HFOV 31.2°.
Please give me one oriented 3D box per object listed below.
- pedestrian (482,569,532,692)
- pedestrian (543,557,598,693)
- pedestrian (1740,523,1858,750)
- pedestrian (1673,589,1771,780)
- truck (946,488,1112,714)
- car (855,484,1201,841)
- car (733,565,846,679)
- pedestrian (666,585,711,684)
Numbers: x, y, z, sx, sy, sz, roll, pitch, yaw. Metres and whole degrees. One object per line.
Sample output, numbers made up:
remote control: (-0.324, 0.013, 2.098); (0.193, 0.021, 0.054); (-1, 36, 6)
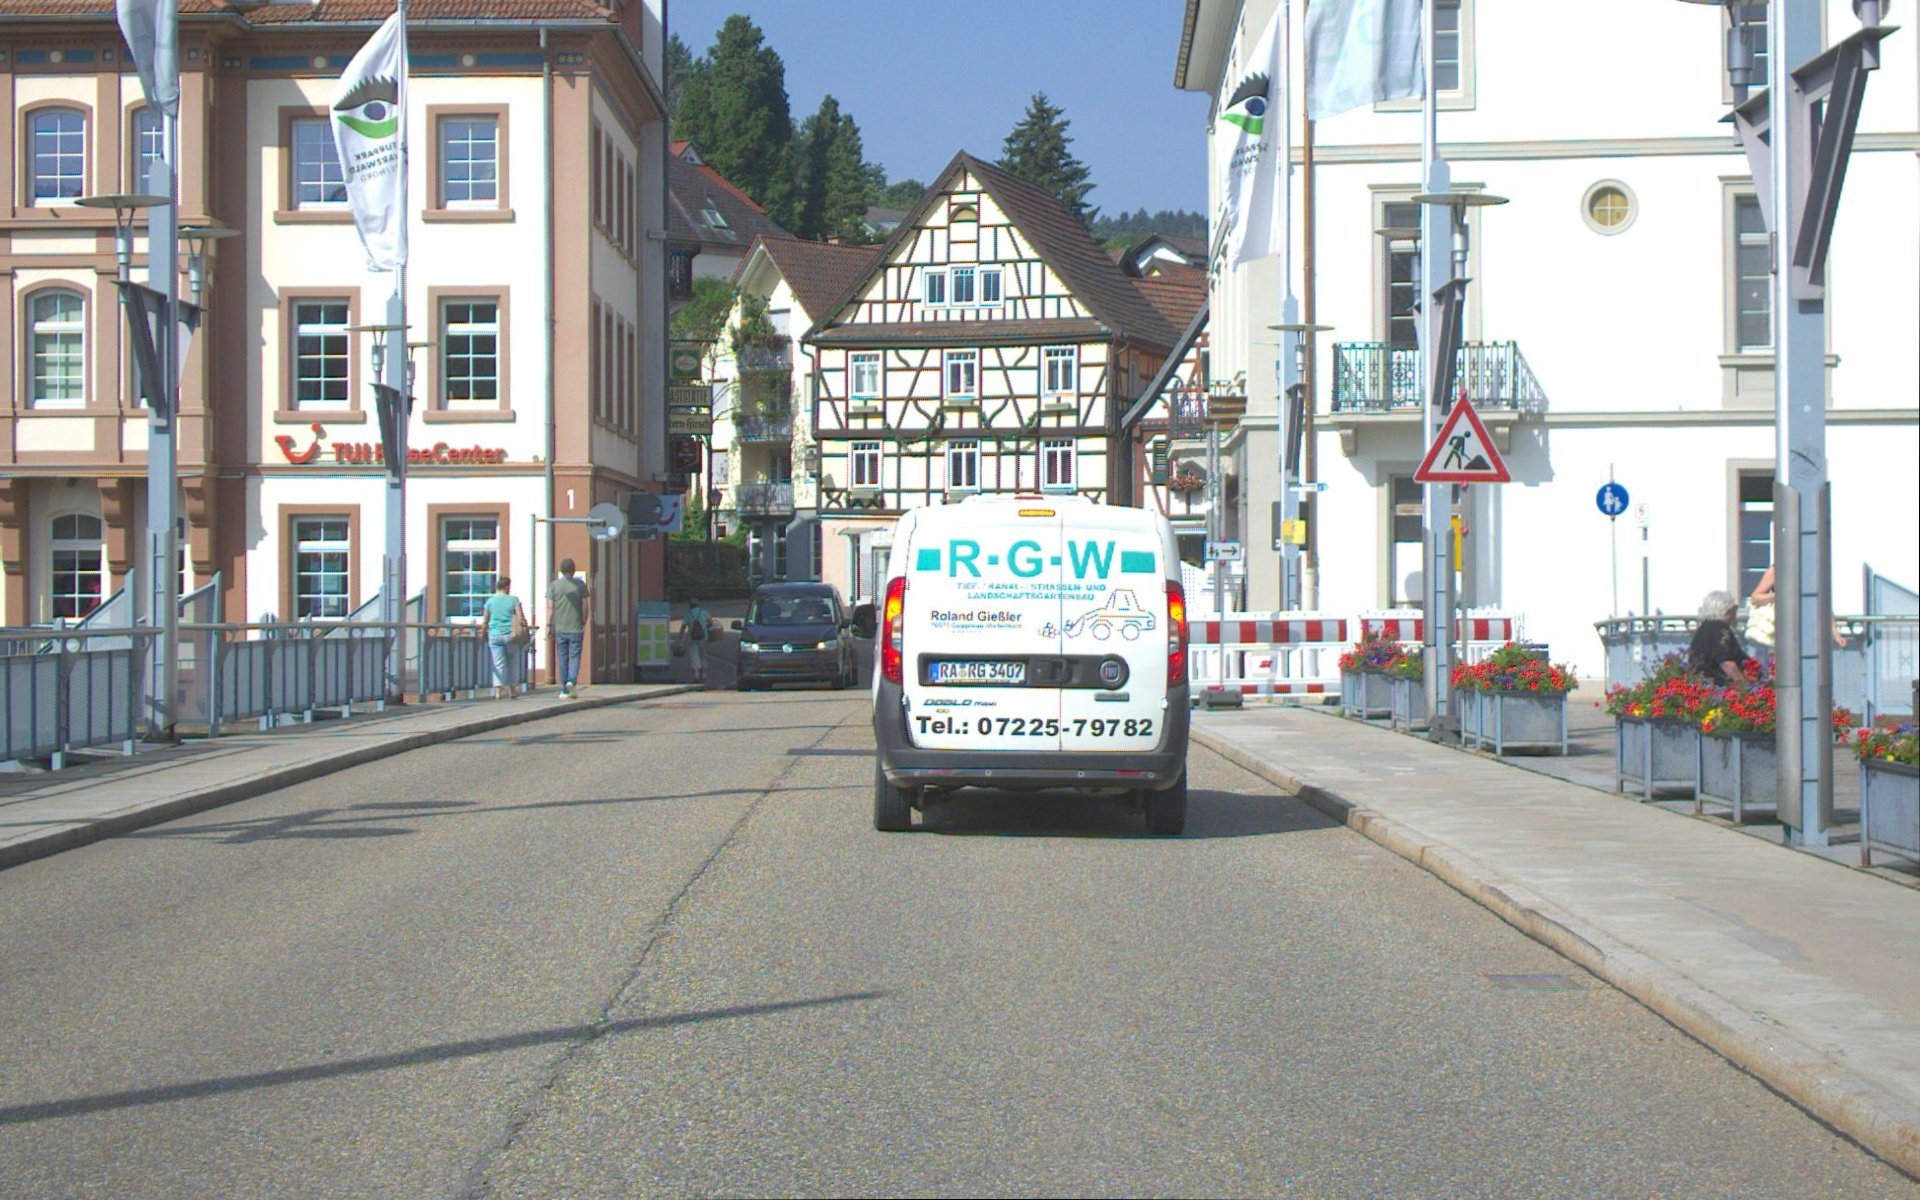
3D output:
pedestrian: (-5.951, 0.399, 45.189); (0.583, 1.604, 0.537); (1, 1, -1)
pedestrian: (-5.096, 0.317, 45.019); (0.614, 1.756, 0.864); (1, 1, -1)
pedestrian: (6.469, 0.272, 26.531); (0.726, 1.717, 0.747); (0, 1, 1)
pedestrian: (5.049, 0.554, 22.799); (0.451, 1.240, 0.626); (-1, 0, -5)
truck: (0.787, 0.007, 41.672); (1.861, 2.576, 4.260); (0, 0, -1)
car: (0.317, 0.334, 20.640); (1.844, 1.900, 4.315); (1, 0, -1)
car: (-2.820, 0.332, 57.579); (1.776, 1.786, 4.697); (1, 1, -2)
pedestrian: (-5.114, 0.650, 64.854); (0.803, 1.851, 0.616); (0, 1, -1)
